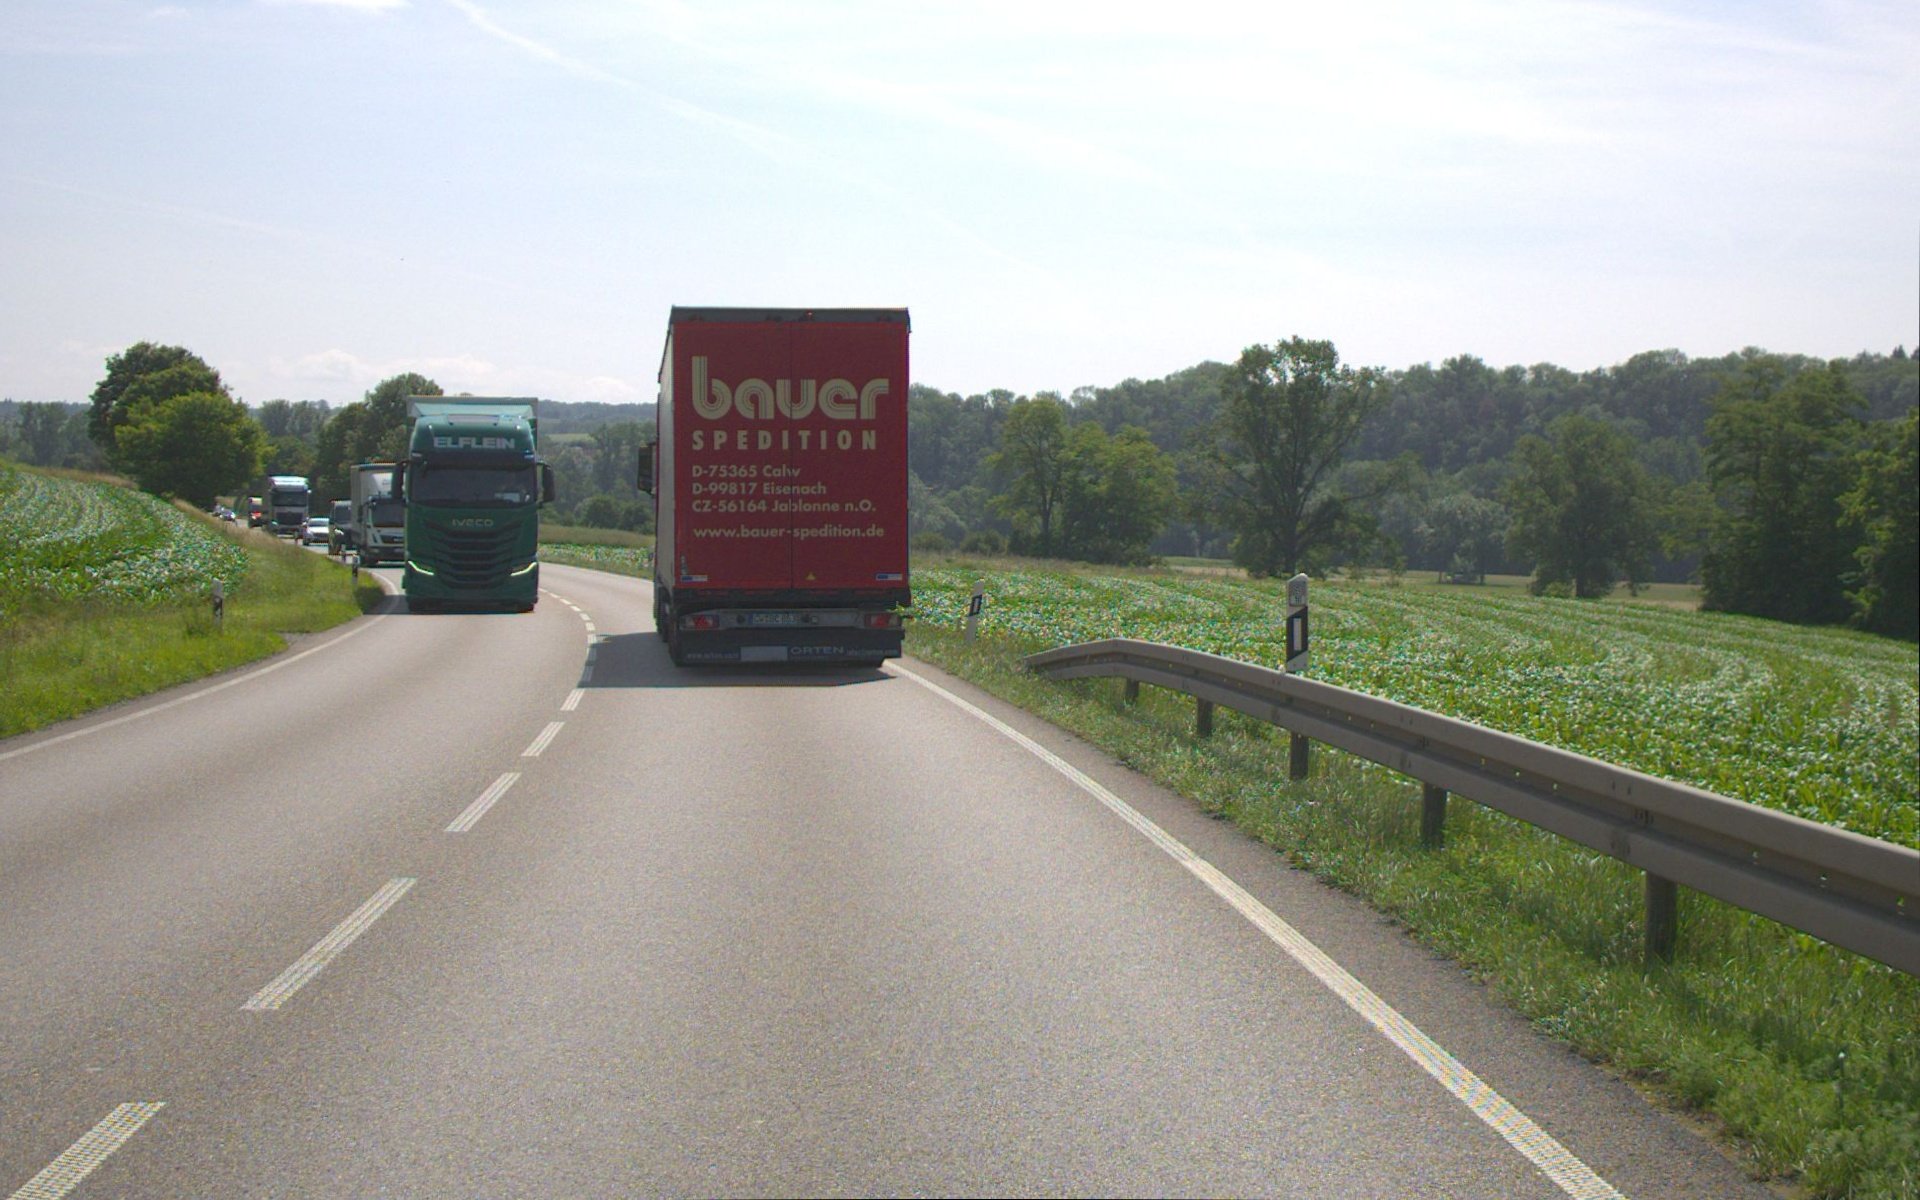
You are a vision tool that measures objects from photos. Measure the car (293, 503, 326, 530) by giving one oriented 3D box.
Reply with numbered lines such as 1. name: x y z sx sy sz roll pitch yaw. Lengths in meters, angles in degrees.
1. car: -35.029 -4.481 185.075 1.727 1.435 4.178 0 2 -11

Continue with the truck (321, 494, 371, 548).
1. truck: -27.064 -3.473 151.420 2.009 2.312 5.193 0 1 -12

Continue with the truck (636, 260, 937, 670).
1. truck: -2.058 -1.467 40.094 3.094 4.248 8.315 1 1 -3

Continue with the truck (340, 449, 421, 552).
1. truck: -20.868 -3.570 124.099 2.740 3.566 9.729 0 1 -9

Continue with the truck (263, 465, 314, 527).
1. truck: -45.570 -7.030 233.012 2.826 3.979 16.539 -1 2 -13

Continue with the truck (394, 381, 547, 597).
1. truck: -10.326 -2.261 72.168 2.770 3.984 17.032 0 1 -8
